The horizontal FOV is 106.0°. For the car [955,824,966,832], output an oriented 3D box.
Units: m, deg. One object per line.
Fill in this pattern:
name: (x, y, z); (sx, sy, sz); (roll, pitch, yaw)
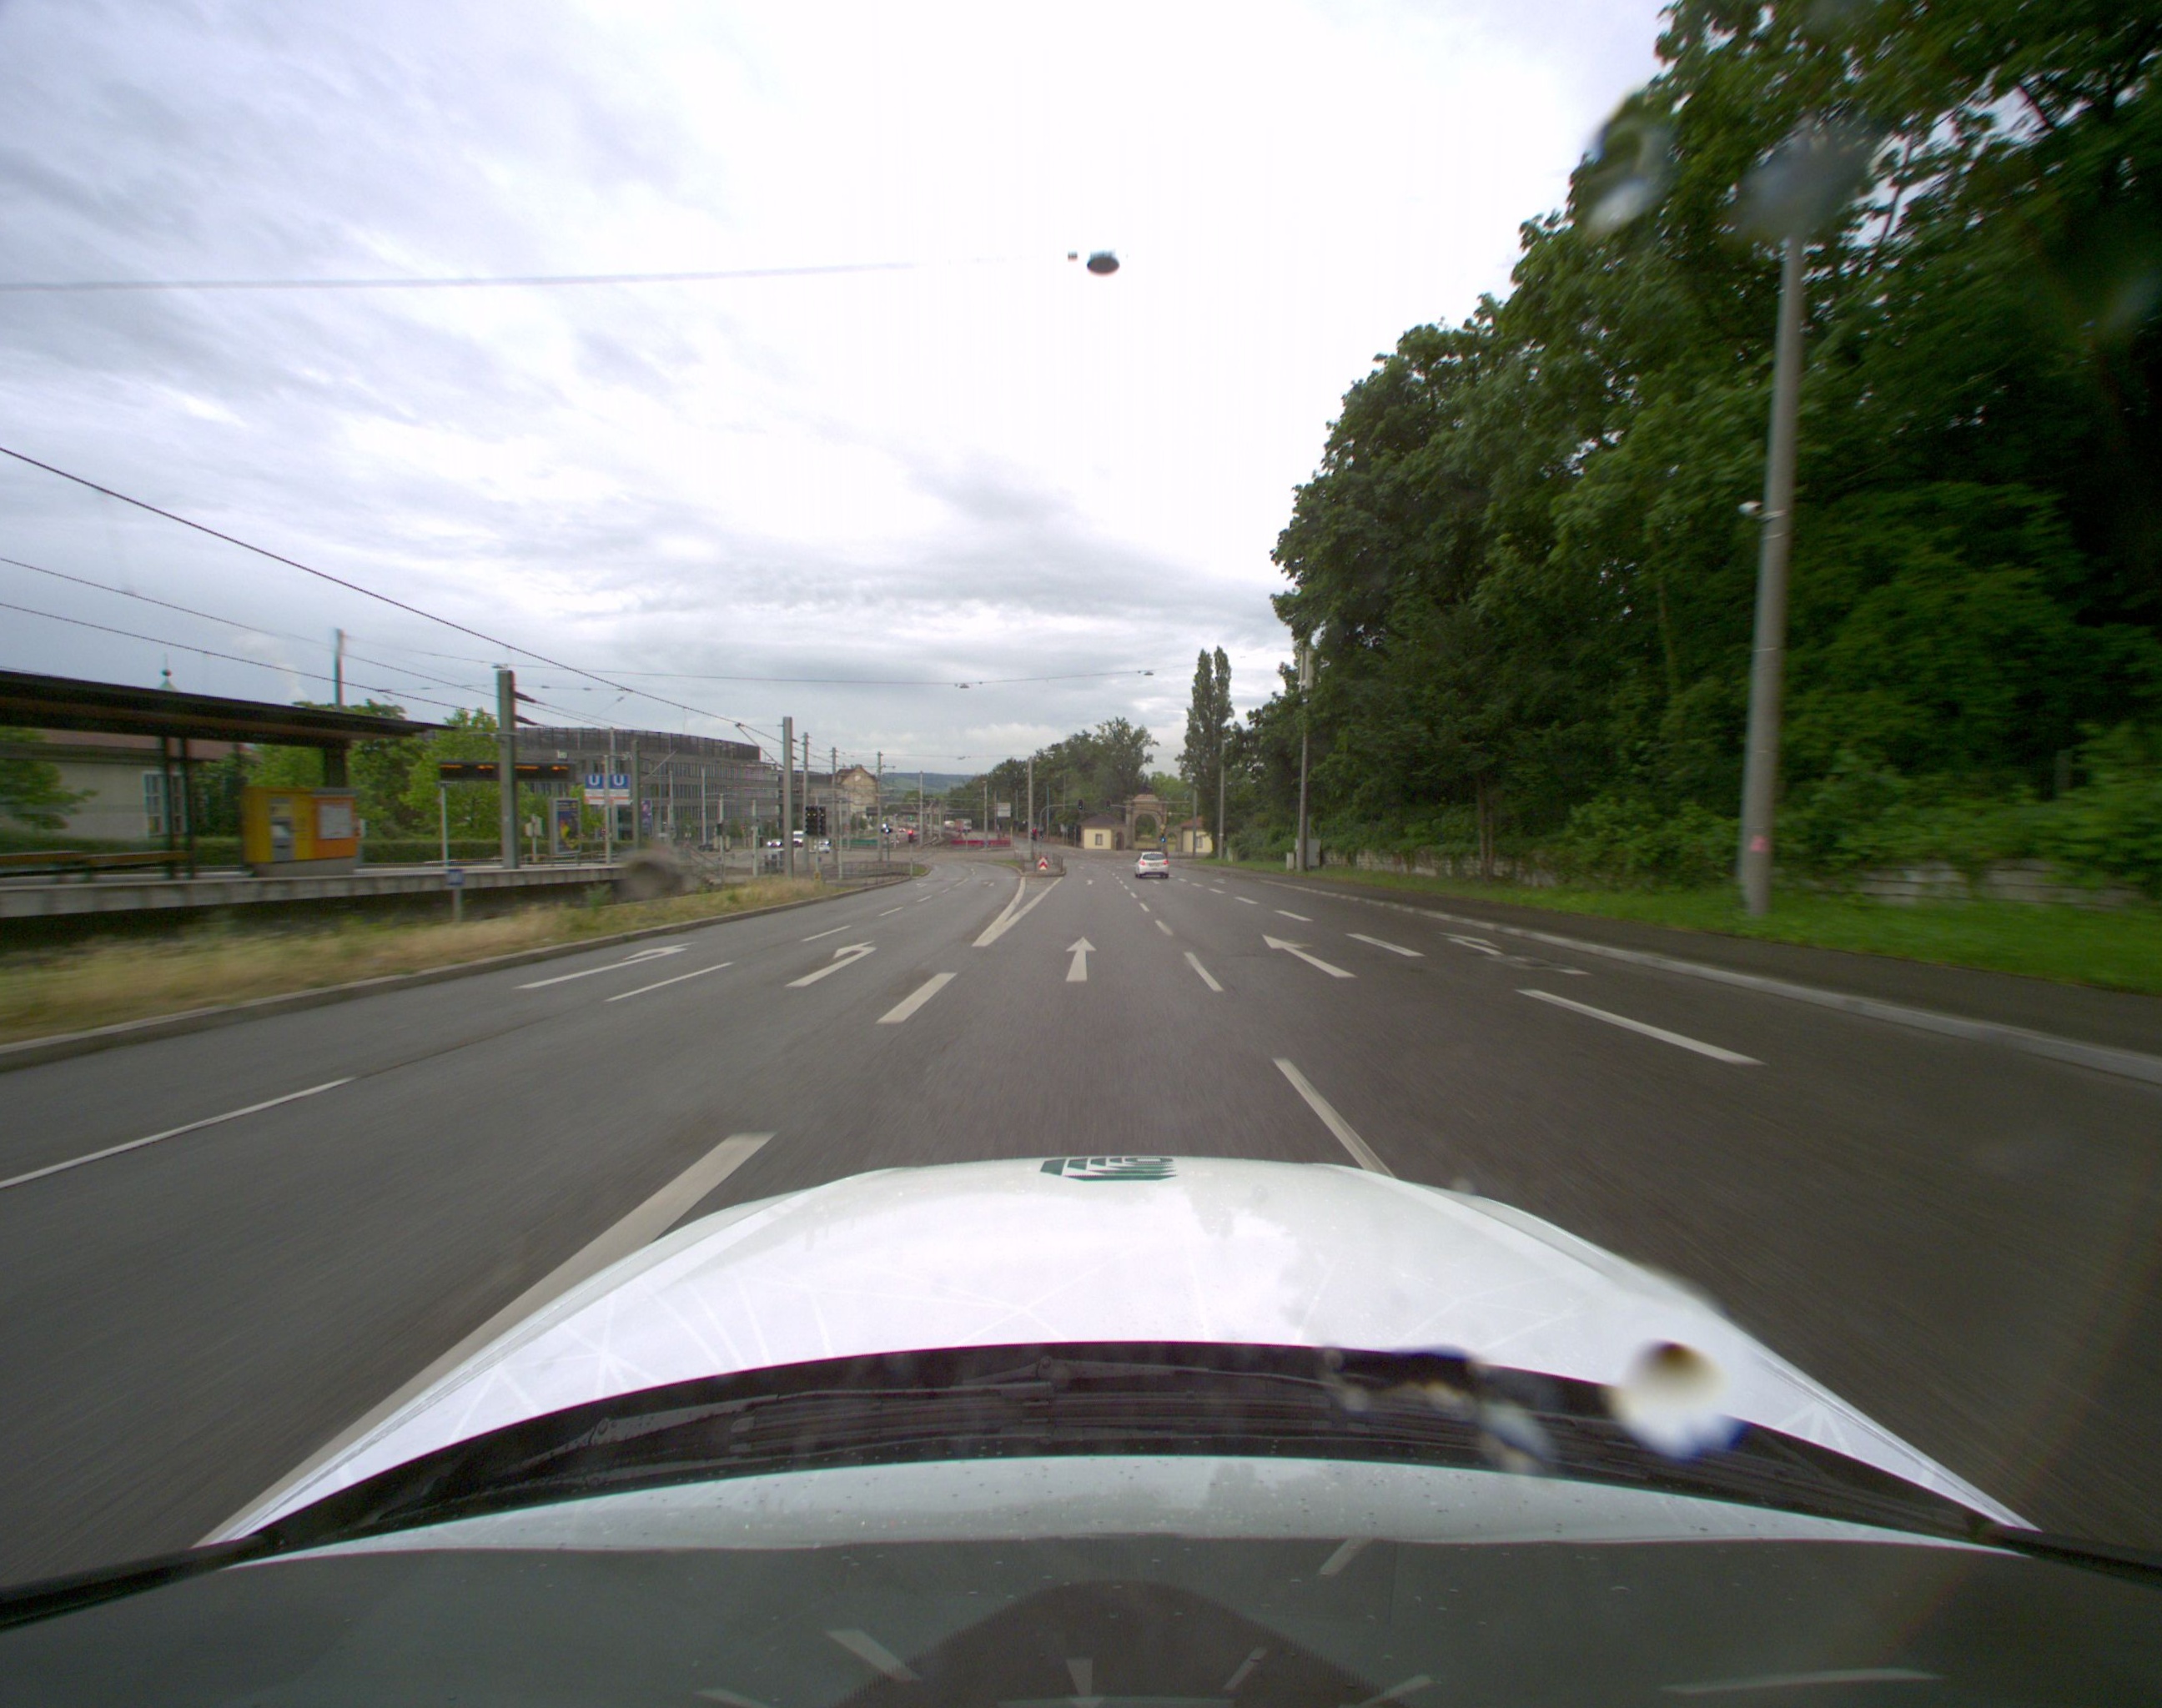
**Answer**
car: (-28.871, -6.120, 194.834); (1.998, 1.872, 3.979); (-2, 2, -16)

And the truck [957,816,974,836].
truck: (-35.457, -8.633, 250.088); (3.471, 5.400, 11.990); (-2, 0, -15)

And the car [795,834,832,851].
car: (-33.955, -1.463, 103.422); (3.956, 2.014, 2.009); (-1, -1, 16)

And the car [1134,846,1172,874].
car: (4.038, 0.342, 46.407); (1.948, 1.488, 4.001); (0, -1, 2)

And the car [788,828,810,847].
car: (-44.155, -2.587, 127.535); (1.992, 2.831, 5.704); (-3, 2, -7)
